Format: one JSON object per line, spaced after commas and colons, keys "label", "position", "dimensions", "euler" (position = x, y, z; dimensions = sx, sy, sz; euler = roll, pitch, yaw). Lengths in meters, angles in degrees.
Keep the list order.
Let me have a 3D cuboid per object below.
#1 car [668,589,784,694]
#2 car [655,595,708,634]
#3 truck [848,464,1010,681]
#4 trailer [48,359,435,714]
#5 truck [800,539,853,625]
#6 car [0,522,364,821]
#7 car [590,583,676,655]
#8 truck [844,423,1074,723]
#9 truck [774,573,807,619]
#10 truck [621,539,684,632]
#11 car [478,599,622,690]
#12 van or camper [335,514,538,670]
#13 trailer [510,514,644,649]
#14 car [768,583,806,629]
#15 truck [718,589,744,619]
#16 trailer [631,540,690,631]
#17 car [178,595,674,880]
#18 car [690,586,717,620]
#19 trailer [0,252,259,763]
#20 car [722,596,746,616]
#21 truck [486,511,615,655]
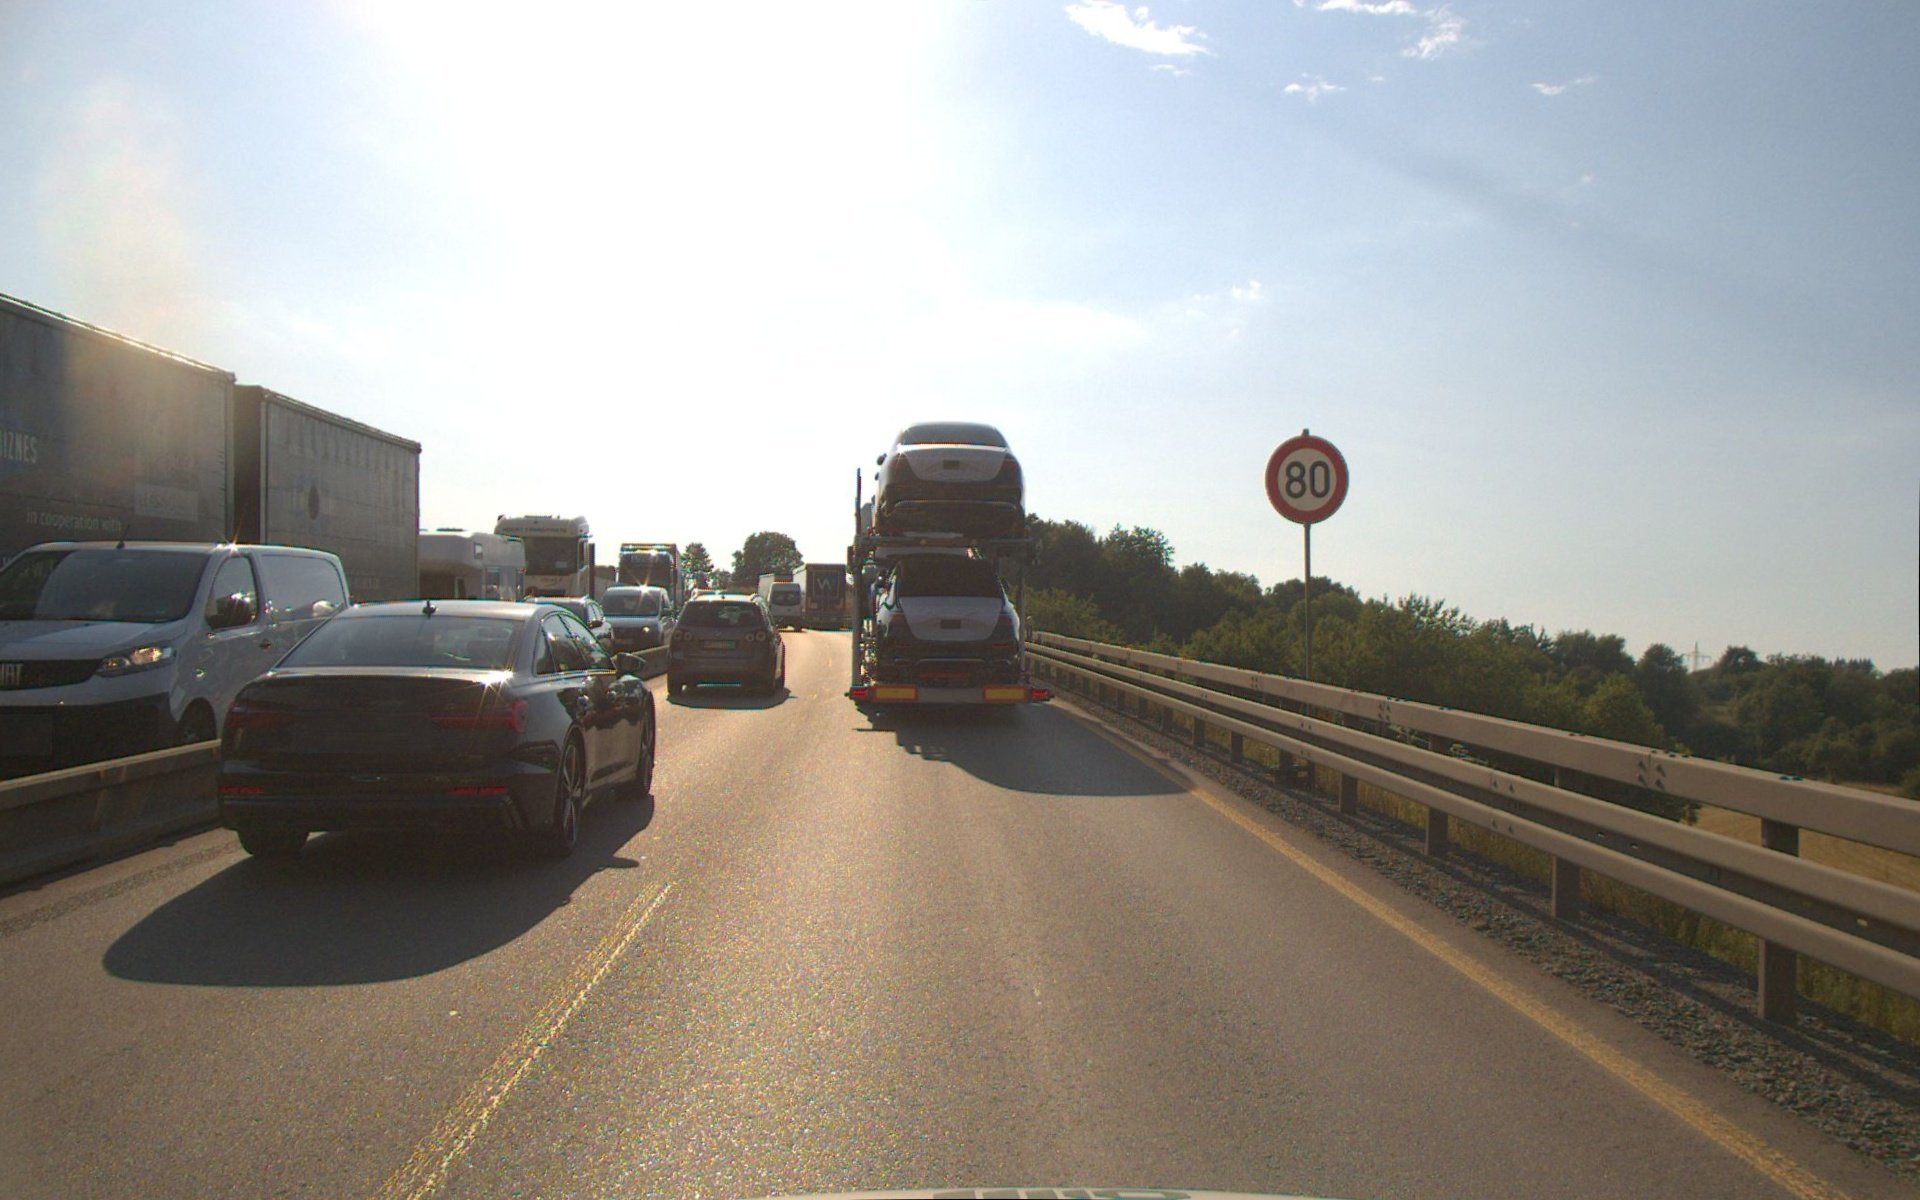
{"label": "car", "position": [-3.820, 0.659, 27.527], "dimensions": [1.658, 1.624, 3.996], "euler": [0, 0, -5]}
{"label": "car", "position": [-11.425, 0.585, 68.132], "dimensions": [1.758, 1.538, 4.581], "euler": [0, 0, -5]}
{"label": "truck", "position": [-0.890, -0.454, 34.516], "dimensions": [2.782, 3.858, 9.977], "euler": [0, 0, -4]}
{"label": "trailer", "position": [-10.018, -0.728, 24.242], "dimensions": [2.394, 4.262, 8.537], "euler": [0, -1, -4]}
{"label": "truck", "position": [-8.802, -1.096, 108.110], "dimensions": [3.222, 5.328, 9.923], "euler": [0, -1, -6]}
{"label": "car", "position": [-6.425, 0.489, 13.255], "dimensions": [1.781, 1.959, 4.832], "euler": [0, 0, -3]}
{"label": "car", "position": [-8.252, 0.483, 42.031], "dimensions": [1.723, 1.725, 4.447], "euler": [0, 0, -6]}
{"label": "truck", "position": [-0.309, -0.278, 25.034], "dimensions": [2.743, 3.558, 10.597], "euler": [0, 0, -3]}
{"label": "truck", "position": [-14.029, -0.273, 137.528], "dimensions": [2.481, 3.712, 8.897], "euler": [0, -1, -4]}
{"label": "truck", "position": [-14.190, -0.616, 76.738], "dimensions": [2.455, 4.137, 5.656], "euler": [0, -1, -7]}
{"label": "car", "position": [-7.282, 0.759, 29.798], "dimensions": [1.646, 1.505, 4.600], "euler": [0, 0, -3]}
{"label": "van or camper", "position": [-10.877, -0.122, 35.112], "dimensions": [2.360, 2.942, 7.611], "euler": [0, 0, -4]}
{"label": "trailer", "position": [-12.165, -0.472, 53.751], "dimensions": [2.471, 3.790, 13.960], "euler": [0, 0, -6]}
{"label": "car", "position": [-9.792, 0.354, 93.856], "dimensions": [1.883, 2.536, 5.404], "euler": [0, -1, -4]}
{"label": "truck", "position": [-25.782, 0.456, 186.571], "dimensions": [2.540, 3.226, 6.669], "euler": [0, -1, -5]}
{"label": "trailer", "position": [-15.113, -0.609, 84.215], "dimensions": [2.263, 4.203, 14.575], "euler": [0, 0, -8]}
{"label": "car", "position": [-3.110, 0.692, 10.810], "dimensions": [1.896, 1.423, 4.957], "euler": [1, 0, -4]}
{"label": "car", "position": [-20.086, 0.243, 129.530], "dimensions": [2.018, 2.544, 6.762], "euler": [0, 0, -8]}
{"label": "trailer", "position": [-9.506, -0.797, 14.717], "dimensions": [2.426, 4.404, 10.505], "euler": [0, 0, -2]}
{"label": "car", "position": [-20.986, 0.585, 153.618], "dimensions": [1.789, 1.803, 3.998], "euler": [0, -1, -2]}
{"label": "truck", "position": [-11.611, -0.418, 47.416], "dimensions": [2.550, 3.820, 6.510], "euler": [0, -1, -5]}
